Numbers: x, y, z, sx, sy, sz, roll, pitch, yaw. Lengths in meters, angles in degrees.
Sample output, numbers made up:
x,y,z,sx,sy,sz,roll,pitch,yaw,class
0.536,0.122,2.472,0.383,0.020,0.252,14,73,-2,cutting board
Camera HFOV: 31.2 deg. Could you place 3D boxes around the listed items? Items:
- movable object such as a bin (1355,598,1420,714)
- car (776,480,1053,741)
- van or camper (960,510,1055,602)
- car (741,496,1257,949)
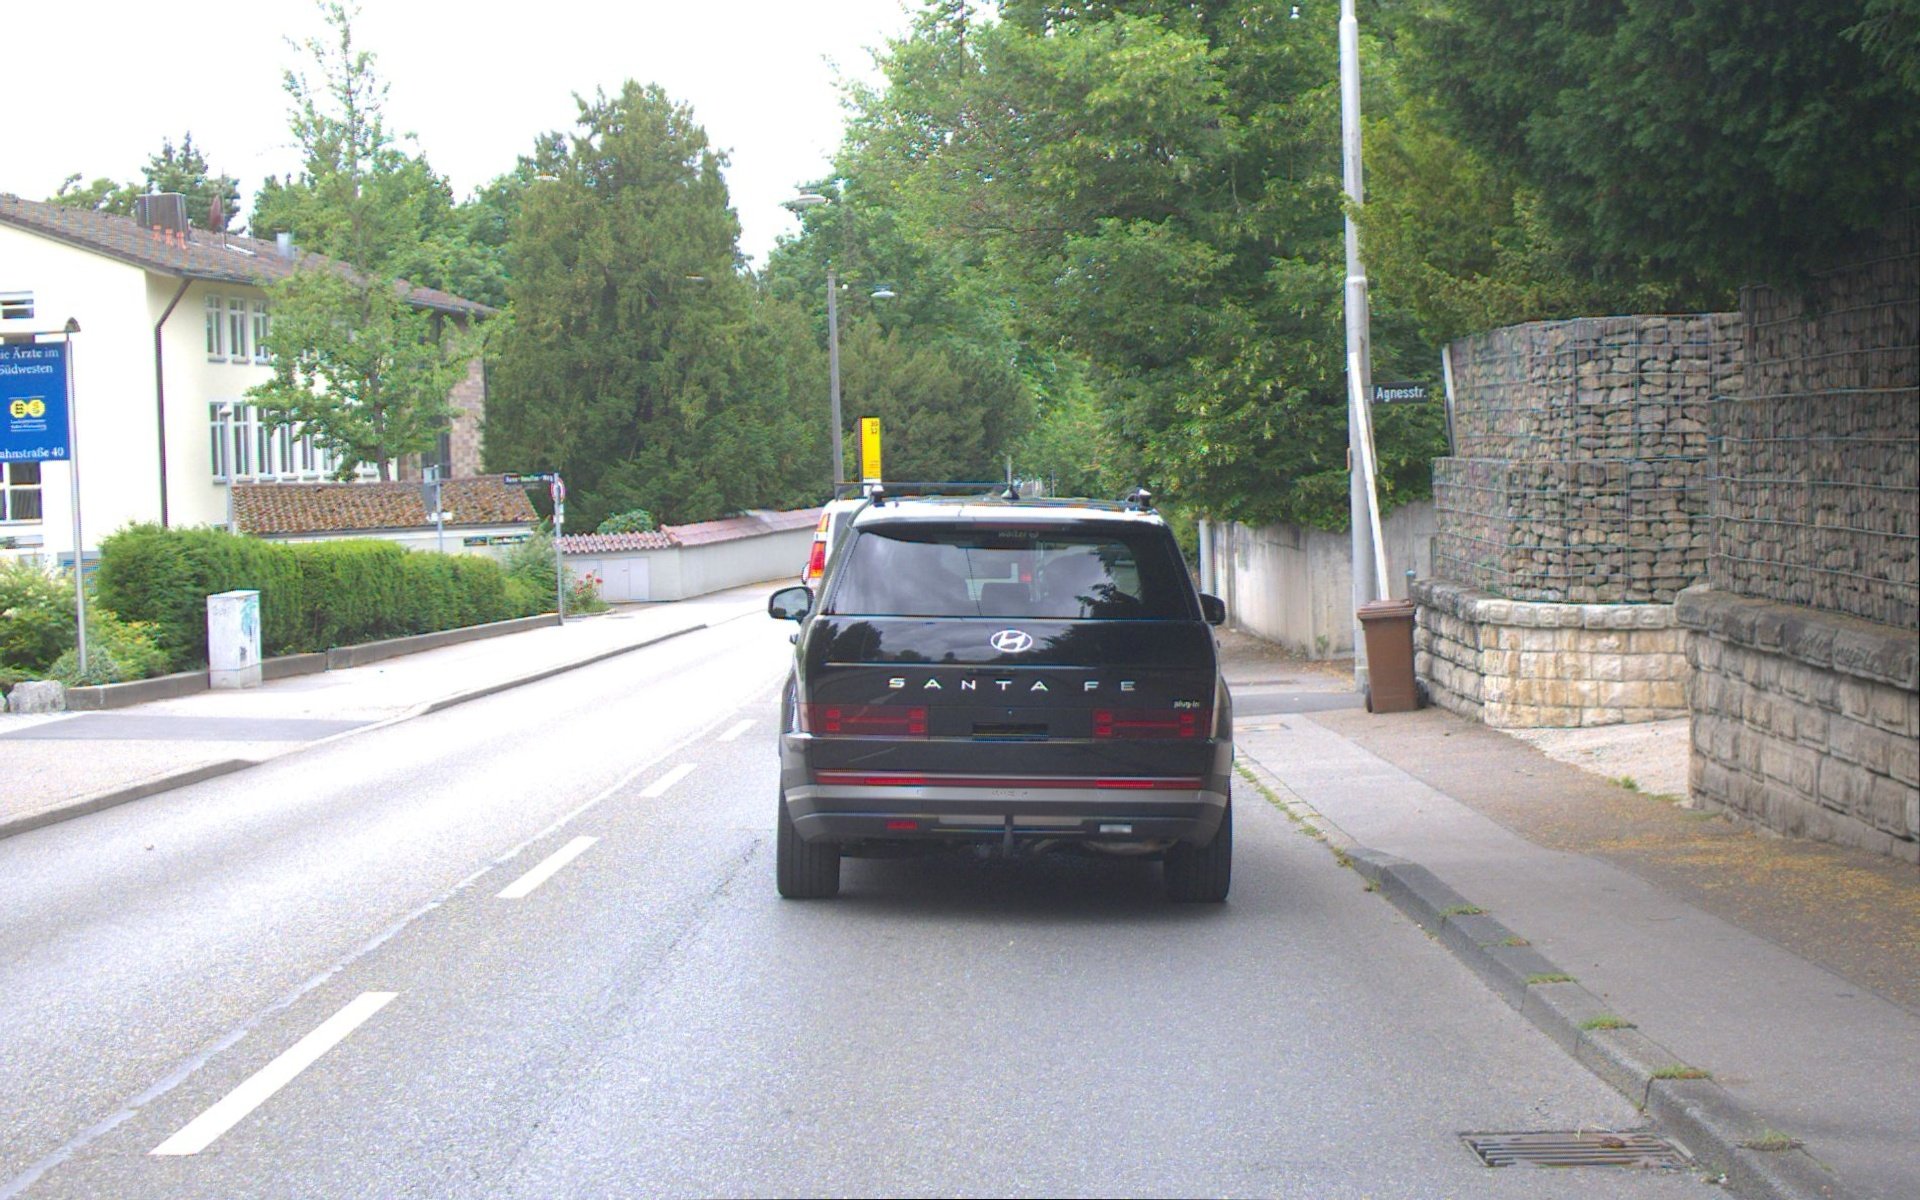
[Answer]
x,y,z,sx,sy,sz,roll,pitch,yaw,class
3.504,0.456,28.176,0.445,0.907,0.394,-4,0,10,movable object such as a bin
-0.456,0.075,28.137,1.957,1.949,4.224,1,0,-5,car
1.162,-1.072,81.573,1.676,2.000,3.937,-1,3,9,van or camper
0.176,0.423,15.413,1.957,1.707,4.223,1,1,1,car
